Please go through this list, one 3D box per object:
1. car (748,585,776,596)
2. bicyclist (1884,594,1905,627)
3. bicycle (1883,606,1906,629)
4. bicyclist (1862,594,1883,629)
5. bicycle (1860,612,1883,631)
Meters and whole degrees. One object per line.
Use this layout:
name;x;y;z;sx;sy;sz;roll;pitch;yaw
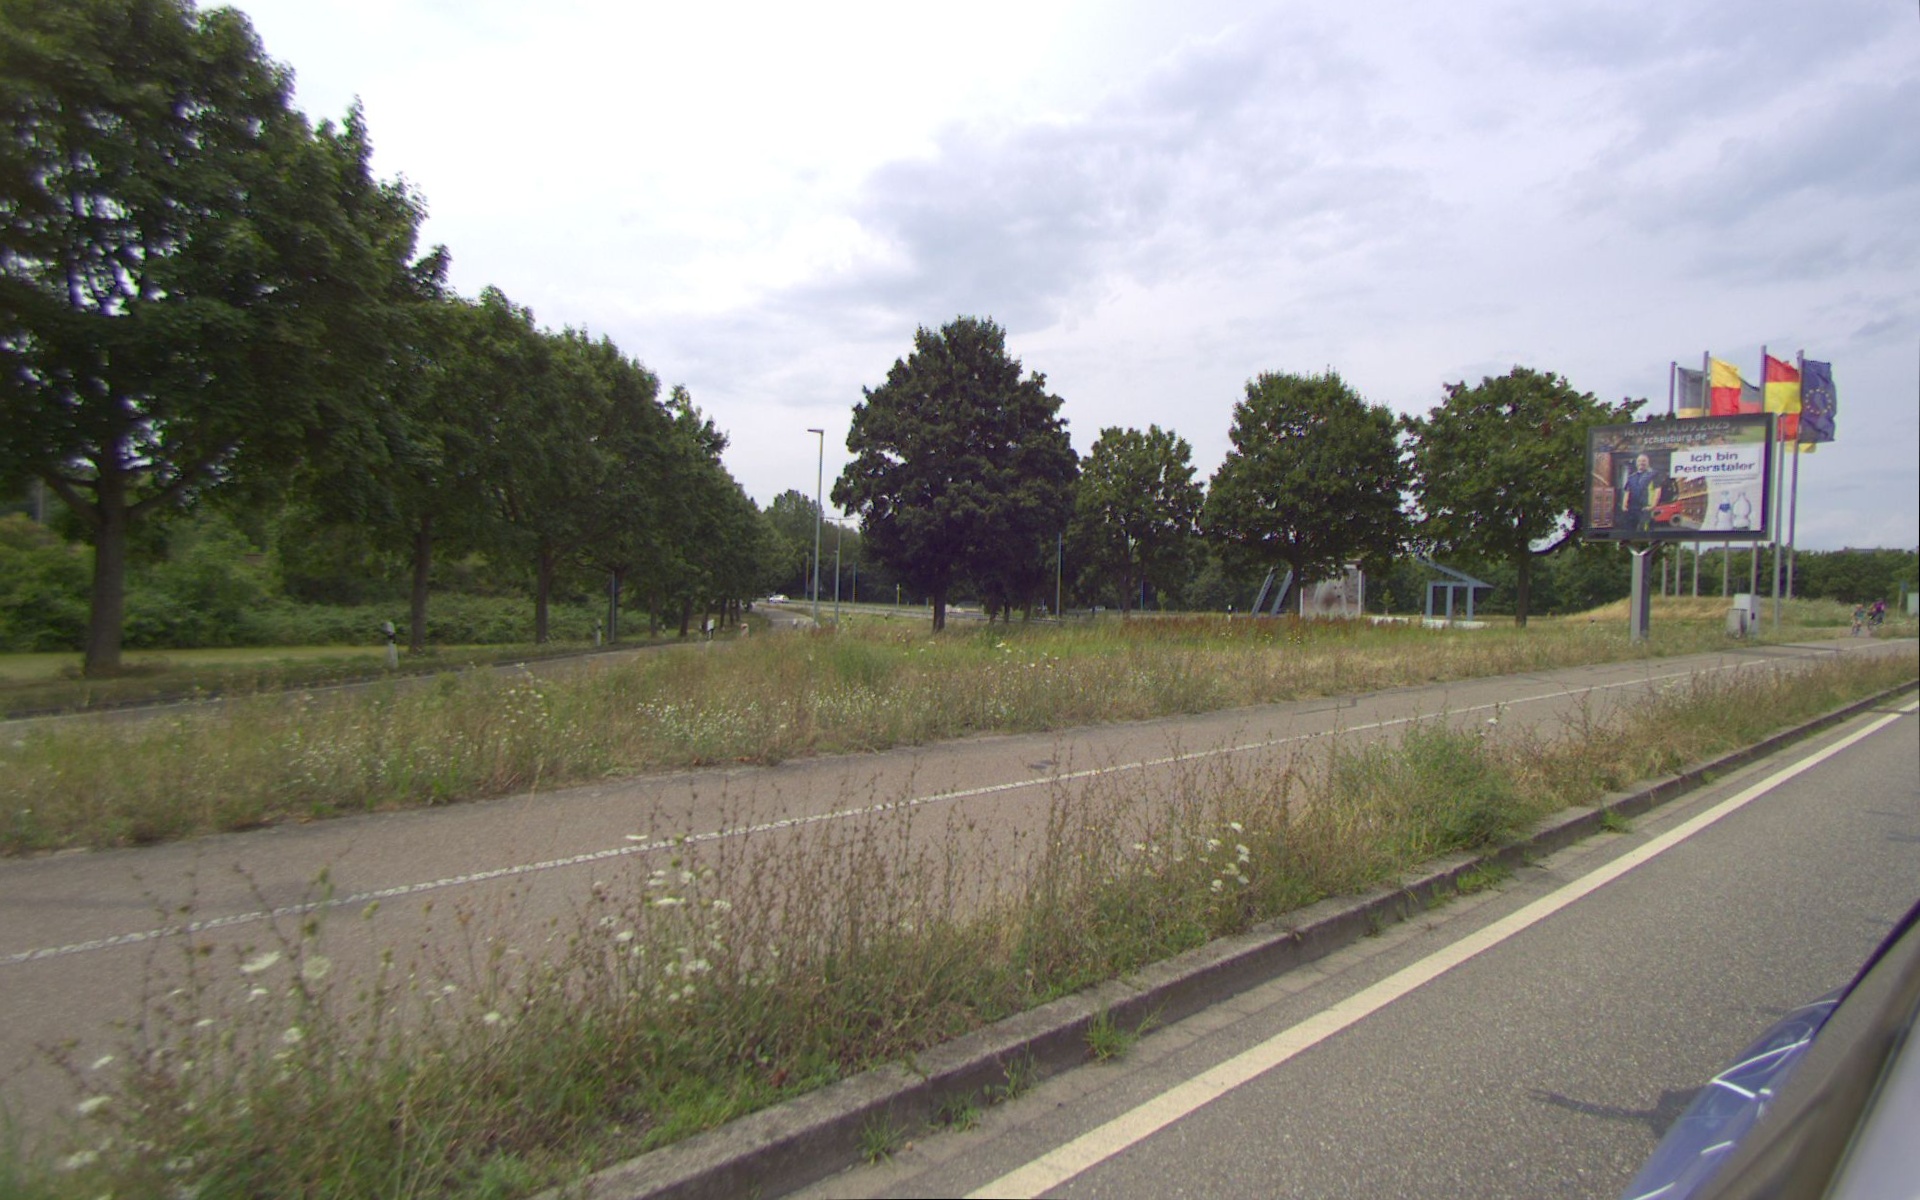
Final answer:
car;-39.433;-1.838;201.599;5.427;2.039;1.979;2;0;30
bicyclist;51.917;0.574;56.217;0.974;1.777;0.704;2;0;-41
bicycle;51.926;0.988;56.224;2.418;1.207;0.695;1;1;-41
bicyclist;45.549;0.580;50.514;0.657;1.686;0.623;2;2;-41
bicycle;45.616;1.067;50.639;2.117;0.899;0.624;0;1;-42
